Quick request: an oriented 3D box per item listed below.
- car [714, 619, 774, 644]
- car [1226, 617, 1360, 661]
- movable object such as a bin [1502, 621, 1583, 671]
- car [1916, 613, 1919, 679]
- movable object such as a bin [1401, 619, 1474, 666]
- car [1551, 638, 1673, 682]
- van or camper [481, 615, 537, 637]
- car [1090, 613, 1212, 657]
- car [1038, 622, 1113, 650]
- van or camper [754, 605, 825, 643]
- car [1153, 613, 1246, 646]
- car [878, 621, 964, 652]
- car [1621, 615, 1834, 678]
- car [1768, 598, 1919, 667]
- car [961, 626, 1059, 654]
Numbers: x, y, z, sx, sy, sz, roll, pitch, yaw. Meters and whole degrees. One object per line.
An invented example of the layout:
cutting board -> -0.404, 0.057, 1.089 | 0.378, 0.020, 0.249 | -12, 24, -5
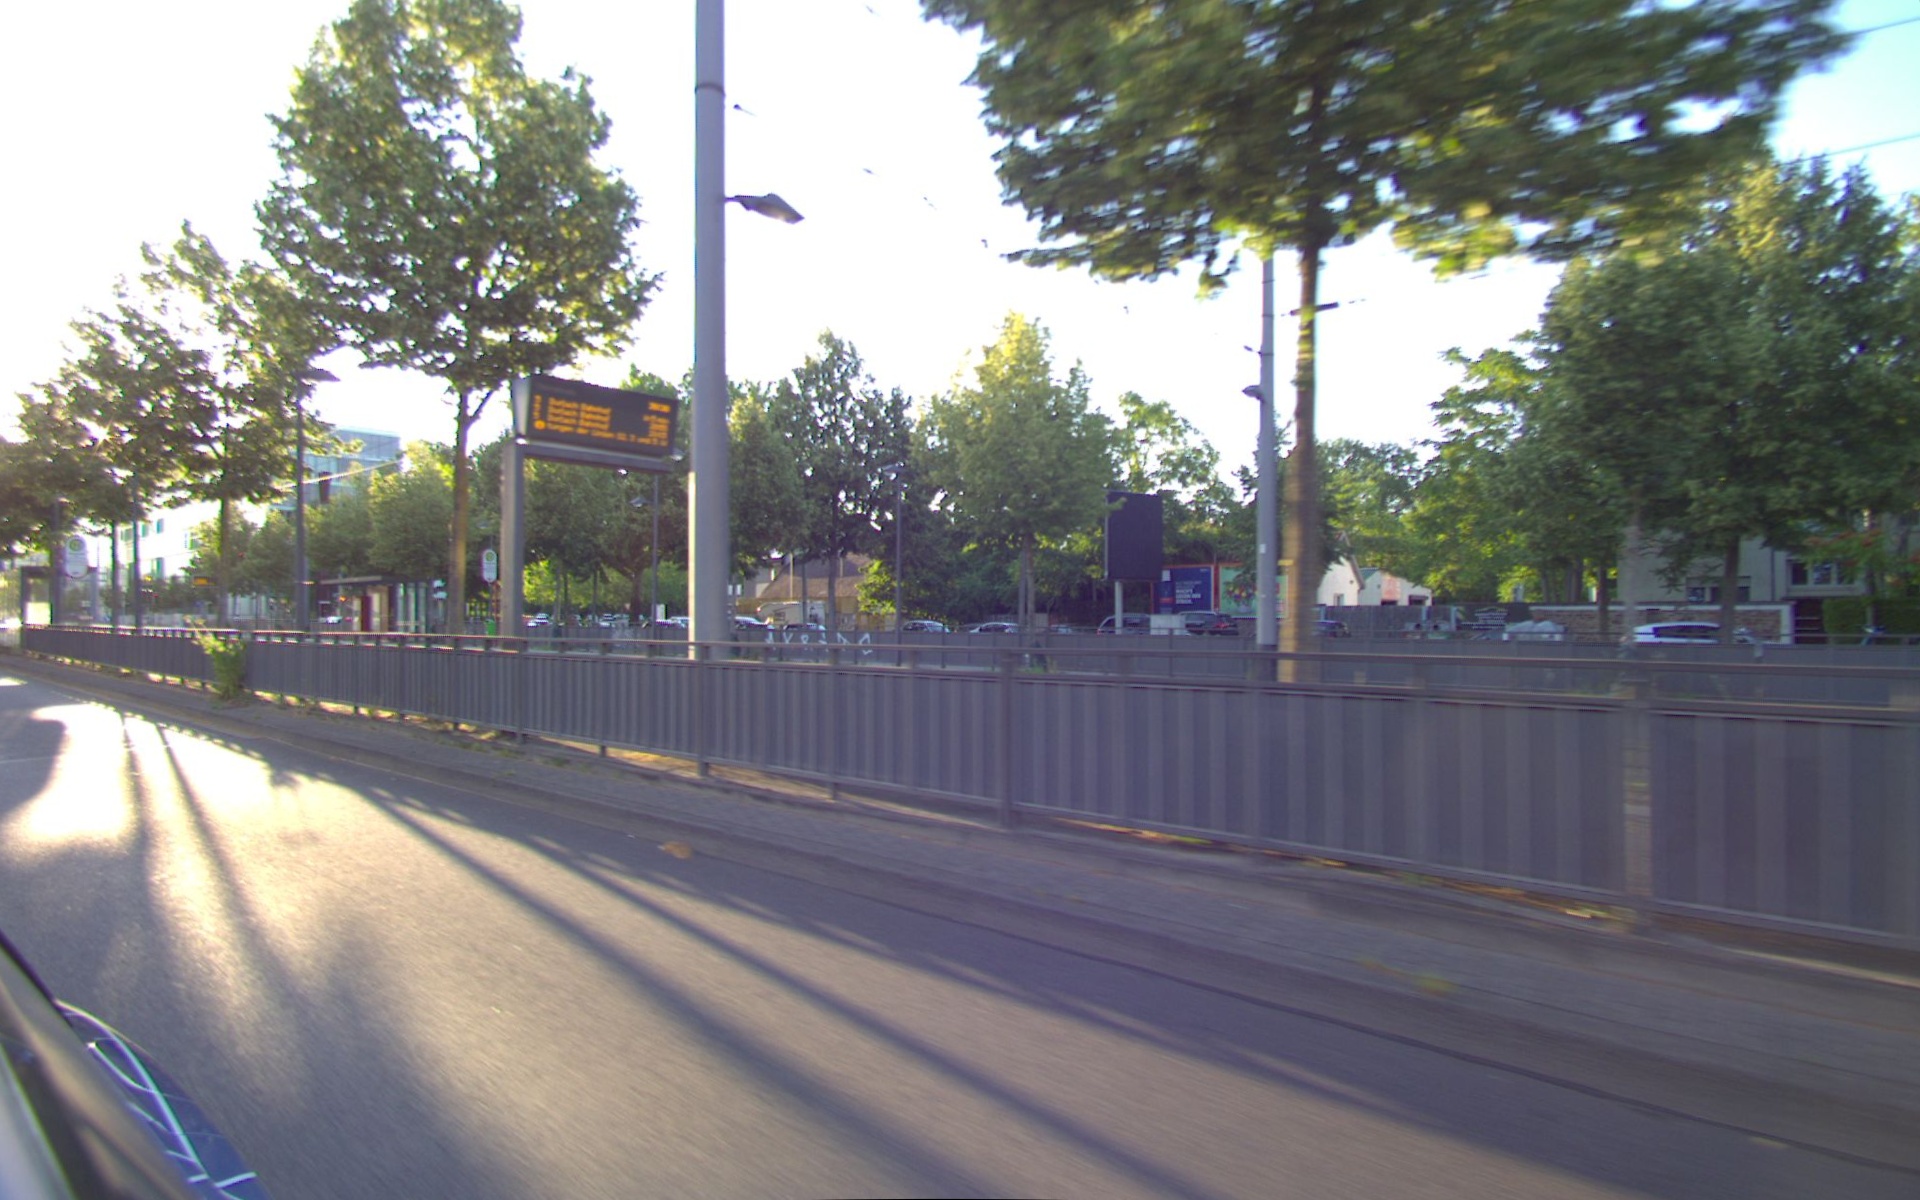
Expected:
car -> -13.890, 2.014, 65.103 | 1.970, 1.541, 4.003 | 1, -2, -44
car -> 11.580, 1.339, 35.371 | 4.000, 1.459, 1.972 | -2, -2, 43
movable object such as a bin -> 16.867, 1.299, 29.288 | 1.724, 1.383, 1.536 | -2, -2, 43
car -> 24.118, 1.038, 22.516 | 4.053, 1.543, 1.790 | -2, -2, 43
movable object such as a bin -> 14.827, 1.305, 31.444 | 1.701, 1.422, 1.393 | -2, -2, 43
car -> 23.236, 2.111, 36.101 | 3.406, 1.441, 1.627 | -2, -2, 44
van or camper -> -44.813, 2.599, 100.625 | 4.806, 2.029, 2.006 | -1, 0, -33
car -> 7.415, 1.347, 39.490 | 4.297, 1.598, 1.972 | -2, -2, 43
car -> 6.148, 1.891, 53.972 | 3.657, 1.459, 1.701 | -1, -2, 42
van or camper -> -12.290, 1.710, 72.770 | 2.363, 2.583, 5.638 | 1, -2, -43
car -> 11.758, 1.451, 49.823 | 1.970, 1.564, 4.003 | 1, -2, -44
car -> -1.948, 1.777, 49.581 | 4.001, 1.418, 1.971 | -2, -2, 44
car -> 20.136, 1.172, 26.646 | 4.299, 1.512, 1.972 | -2, -2, 43
car -> 27.906, 1.004, 31.569 | 1.970, 2.029, 4.002 | 1, -2, -45
car -> 2.191, 1.754, 45.064 | 4.089, 1.210, 1.972 | -2, -2, 43
